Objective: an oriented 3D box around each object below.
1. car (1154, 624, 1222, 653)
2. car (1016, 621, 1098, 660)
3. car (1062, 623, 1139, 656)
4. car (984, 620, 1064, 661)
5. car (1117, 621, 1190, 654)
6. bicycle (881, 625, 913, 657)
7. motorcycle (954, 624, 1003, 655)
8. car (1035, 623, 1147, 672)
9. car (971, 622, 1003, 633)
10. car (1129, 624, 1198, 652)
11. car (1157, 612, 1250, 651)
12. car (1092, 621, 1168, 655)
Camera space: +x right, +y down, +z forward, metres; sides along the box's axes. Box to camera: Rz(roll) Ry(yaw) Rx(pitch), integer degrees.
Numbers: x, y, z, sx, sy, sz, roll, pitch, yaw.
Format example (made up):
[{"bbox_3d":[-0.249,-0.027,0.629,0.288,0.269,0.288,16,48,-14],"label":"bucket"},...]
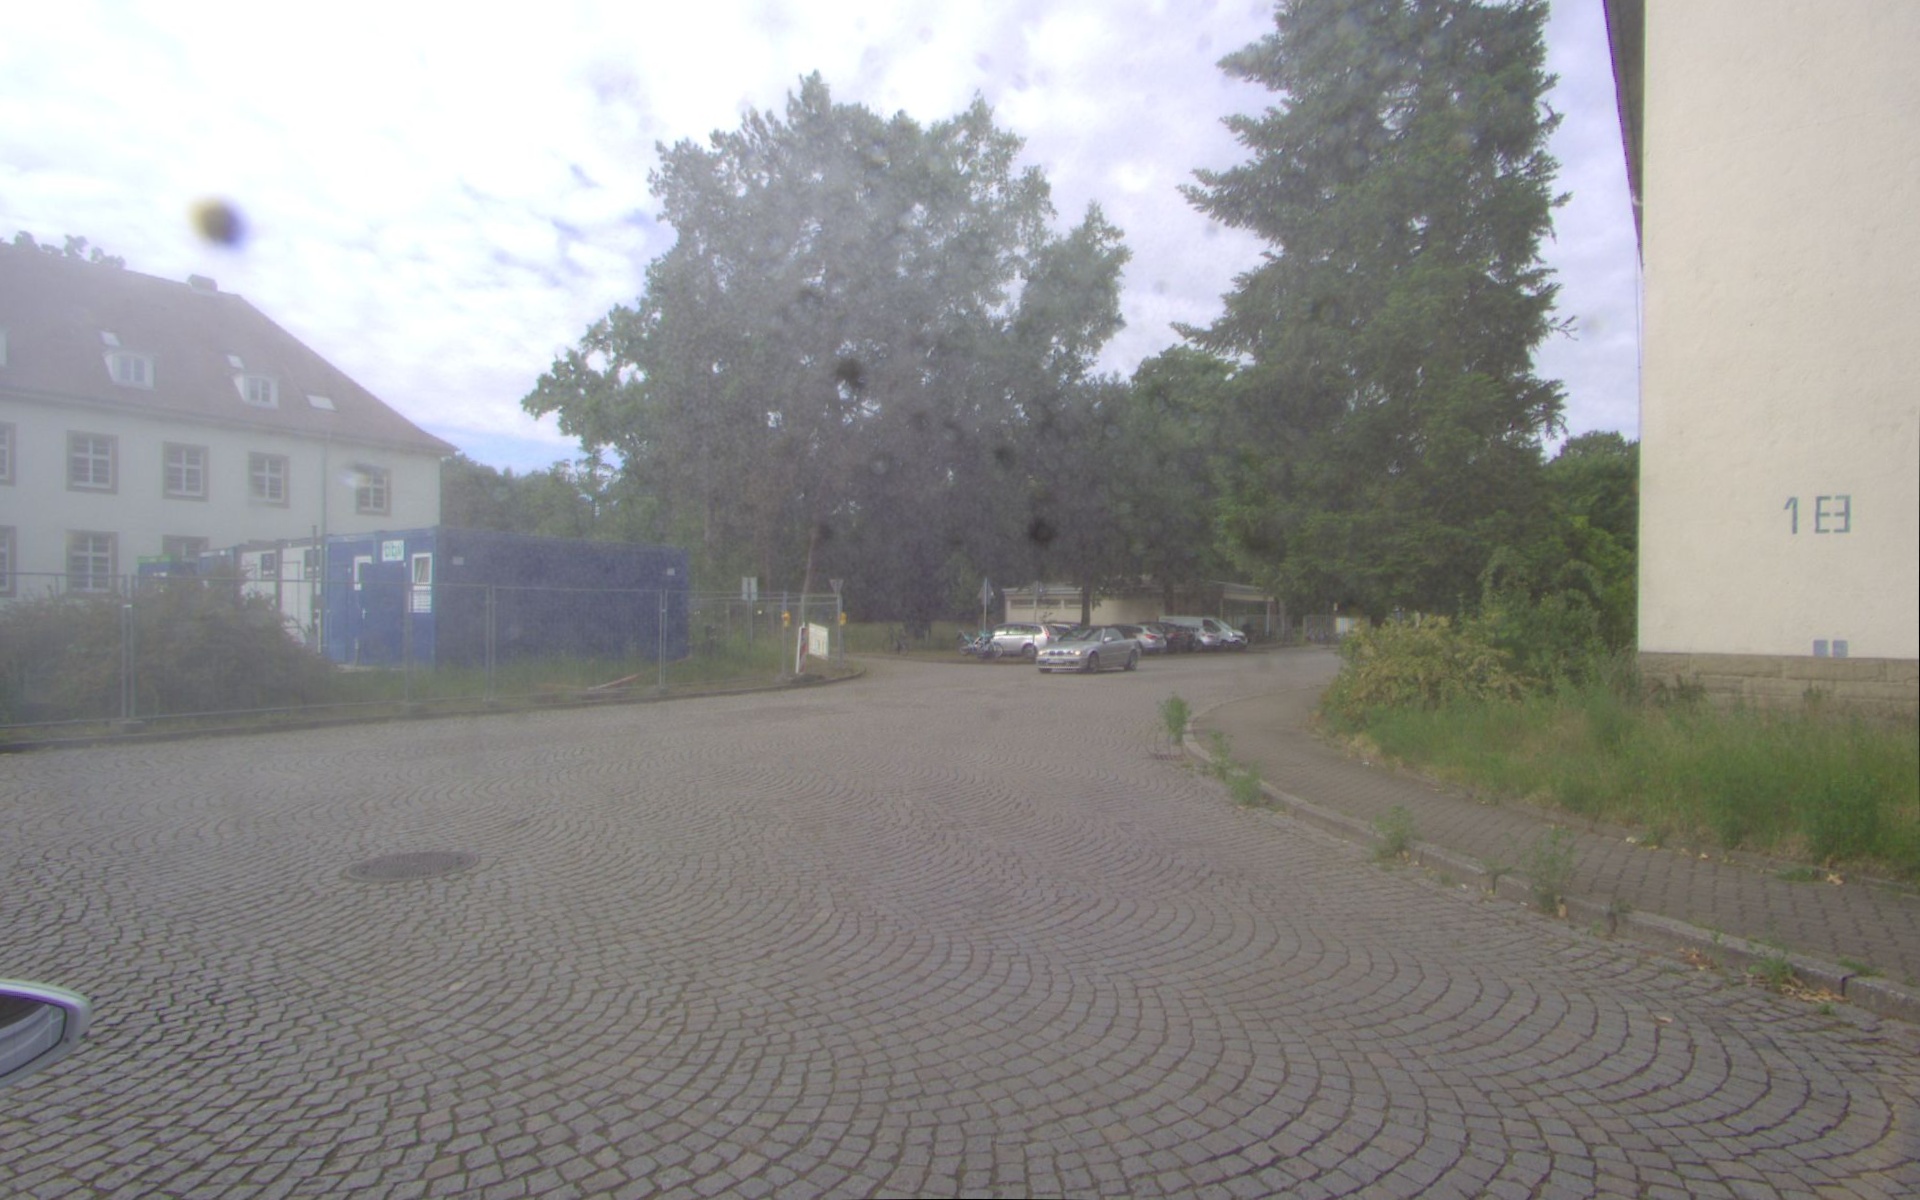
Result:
[{"bbox_3d":[12.681,2.116,55.679,3.317,1.425,1.558,2,0,32],"label":"car"},{"bbox_3d":[4.153,1.714,42.858,3.171,1.467,1.384,2,0,28],"label":"car"},{"bbox_3d":[6.701,1.860,47.824,3.320,1.379,1.439,2,0,36],"label":"car"},{"bbox_3d":[2.632,1.656,41.119,2.977,1.508,1.318,2,0,28],"label":"car"},{"bbox_3d":[9.979,1.920,51.568,3.317,1.533,1.558,2,0,32],"label":"car"},{"bbox_3d":[-2.424,1.562,38.412,0.507,1.182,1.795,0,-1,-30],"label":"bicycle"},{"bbox_3d":[0.715,1.561,39.562,1.936,1.180,0.516,0,0,31],"label":"motorcycle"},{"bbox_3d":[3.969,1.374,29.740,1.585,1.363,4.270,-1,-2,34],"label":"car"},{"bbox_3d":[2.792,2.828,102.972,3.326,1.078,1.256,0,-1,2],"label":"car"},{"bbox_3d":[10.922,2.027,53.766,3.317,1.336,1.467,2,0,32],"label":"car"},{"bbox_3d":[14.070,1.788,57.960,4.891,2.017,1.687,2,0,37],"label":"car"},{"bbox_3d":[8.343,1.845,49.133,3.314,1.462,1.559,2,0,29],"label":"car"}]
